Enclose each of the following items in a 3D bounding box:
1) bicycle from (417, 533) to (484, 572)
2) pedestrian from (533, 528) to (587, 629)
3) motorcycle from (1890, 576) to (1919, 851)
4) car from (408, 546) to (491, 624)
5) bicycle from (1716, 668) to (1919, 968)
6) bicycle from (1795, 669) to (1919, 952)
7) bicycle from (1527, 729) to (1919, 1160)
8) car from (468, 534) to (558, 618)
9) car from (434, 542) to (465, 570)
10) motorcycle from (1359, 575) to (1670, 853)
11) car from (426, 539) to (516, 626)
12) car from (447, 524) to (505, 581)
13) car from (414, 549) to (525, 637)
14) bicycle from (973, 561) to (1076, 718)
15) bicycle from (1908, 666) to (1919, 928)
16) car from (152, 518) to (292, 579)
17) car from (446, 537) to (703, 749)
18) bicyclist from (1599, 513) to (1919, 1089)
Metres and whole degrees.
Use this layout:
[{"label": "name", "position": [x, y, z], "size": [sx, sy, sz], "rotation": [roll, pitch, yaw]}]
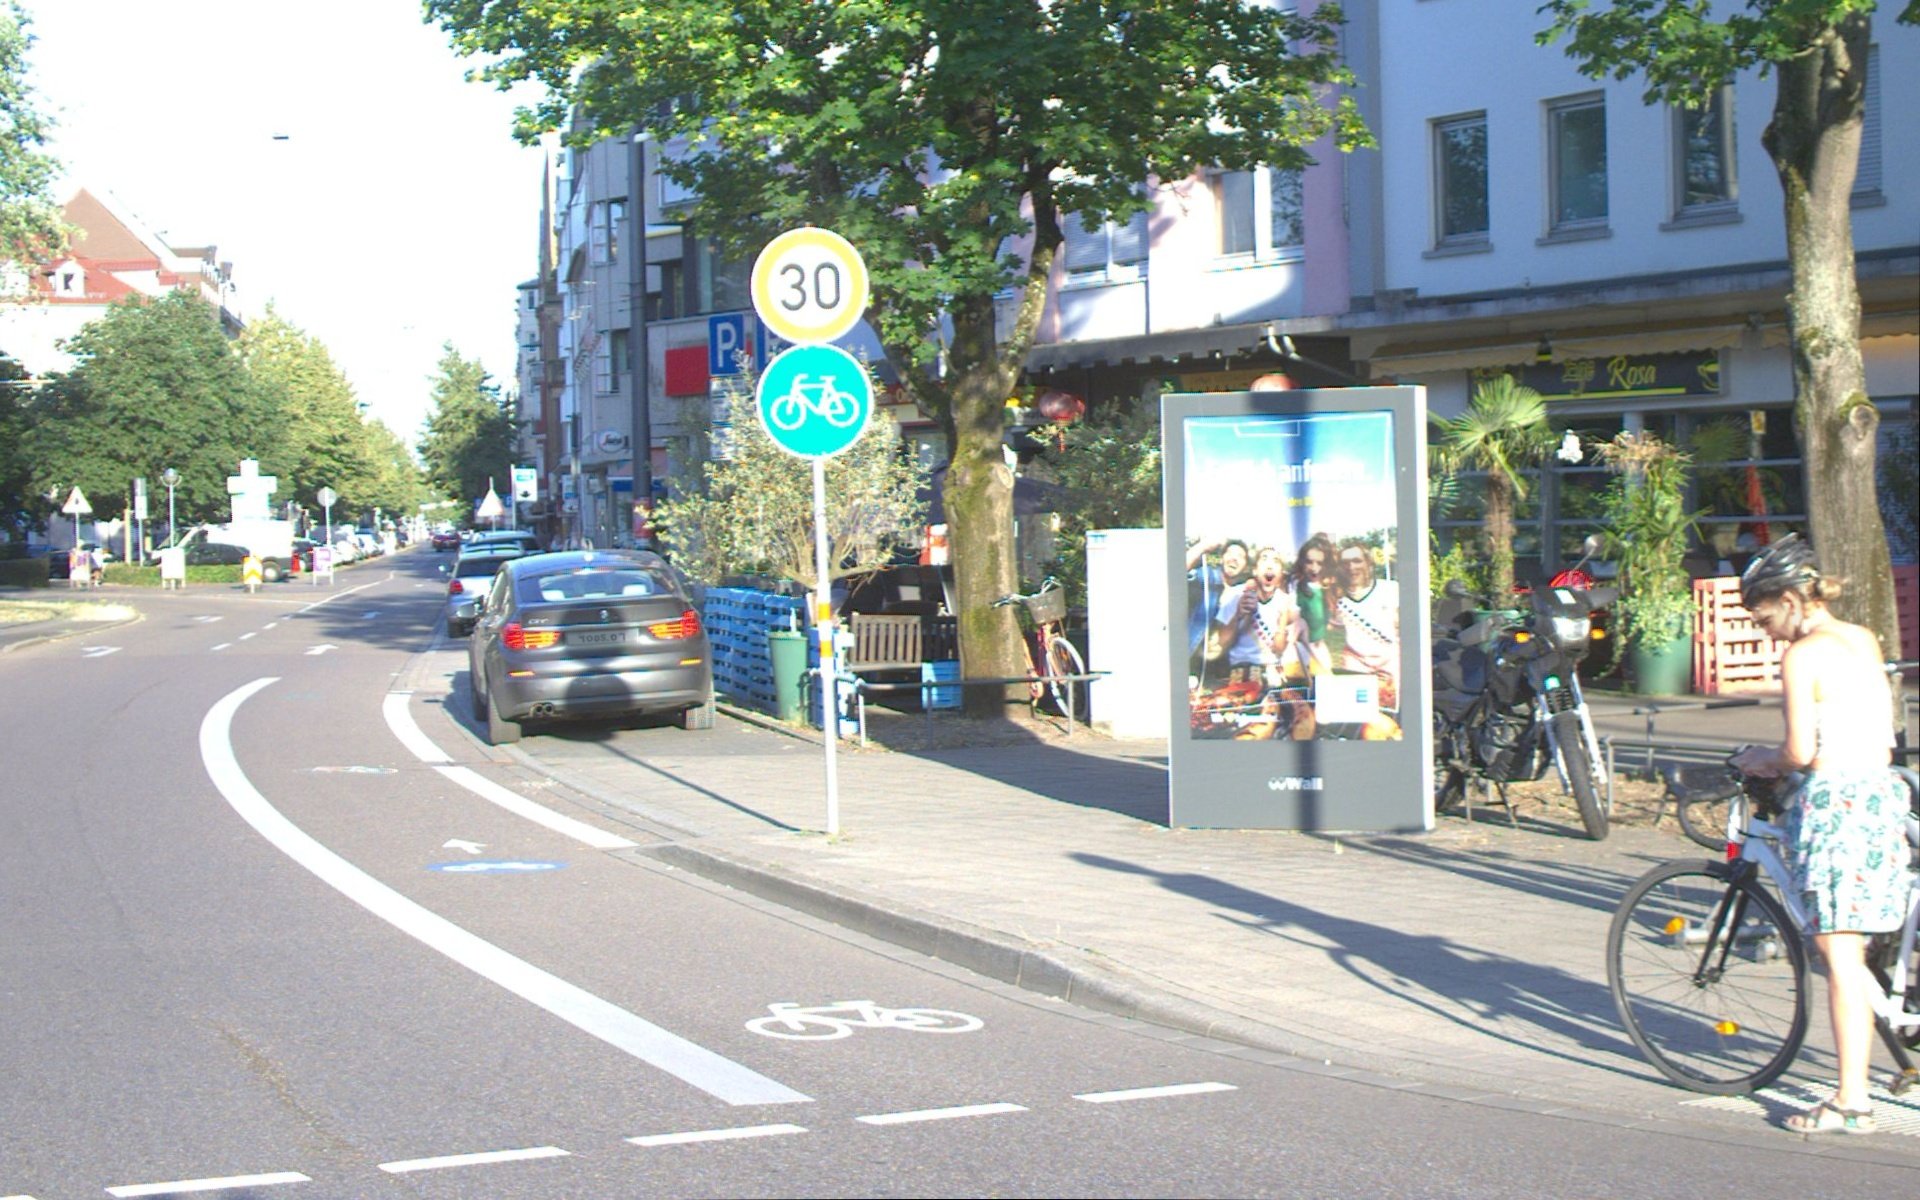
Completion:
[{"label": "bicycle", "position": [-14.904, -1.393, 100.584], "size": [1.788, 0.986, 0.542], "rotation": [-4, 3, 8]}, {"label": "pedestrian", "position": [-7.069, -0.386, 60.777], "size": [0.639, 1.780, 0.857], "rotation": [-1, 1, -32]}, {"label": "motorcycle", "position": [5.691, 0.546, 17.367], "size": [2.141, 1.349, 0.643], "rotation": [-1, 1, -32]}, {"label": "car", "position": [-10.551, -0.339, 71.277], "size": [1.640, 1.523, 4.001], "rotation": [-1, 1, -8]}, {"label": "bicycle", "position": [3.533, 0.790, 12.324], "size": [0.360, 1.024, 1.794], "rotation": [-1, 2, -37]}, {"label": "bicycle", "position": [3.890, 0.797, 12.601], "size": [0.360, 1.024, 1.794], "rotation": [-1, 2, -37]}, {"label": "bicycle", "position": [2.384, 0.911, 9.312], "size": [0.514, 1.024, 1.794], "rotation": [-1, 2, -38]}, {"label": "car", "position": [-10.005, -0.561, 76.763], "size": [1.783, 1.798, 4.403], "rotation": [-1, 1, -10]}, {"label": "car", "position": [-30.251, -2.594, 203.543], "size": [1.576, 1.537, 3.398], "rotation": [-3, 1, -11]}, {"label": "motorcycle", "position": [2.887, 0.555, 18.160], "size": [0.641, 1.339, 2.203], "rotation": [-1, 1, -19]}, {"label": "car", "position": [-9.327, -0.354, 65.443], "size": [1.584, 1.585, 3.669], "rotation": [0, 1, -10]}, {"label": "car", "position": [-15.898, -1.566, 112.851], "size": [1.792, 1.785, 4.093], "rotation": [-2, 1, -8]}, {"label": "car", "position": [-8.551, -0.147, 60.172], "size": [1.784, 1.451, 4.001], "rotation": [-2, 1, -7]}, {"label": "bicycle", "position": [0.513, 0.301, 28.132], "size": [0.446, 1.206, 2.083], "rotation": [-1, 1, -10]}, {"label": "bicycle", "position": [4.414, 0.782, 12.902], "size": [0.360, 1.024, 1.794], "rotation": [-1, 2, -37]}, {"label": "car", "position": [-27.638, -1.917, 128.796], "size": [4.599, 2.243, 2.203], "rotation": [-1, 1, -35]}, {"label": "car", "position": [-3.476, 0.304, 30.268], "size": [1.804, 1.664, 4.814], "rotation": [-1, 2, -12]}, {"label": "bicyclist", "position": [2.315, 0.502, 9.354], "size": [0.796, 1.475, 0.806], "rotation": [-1, 2, -39]}]
